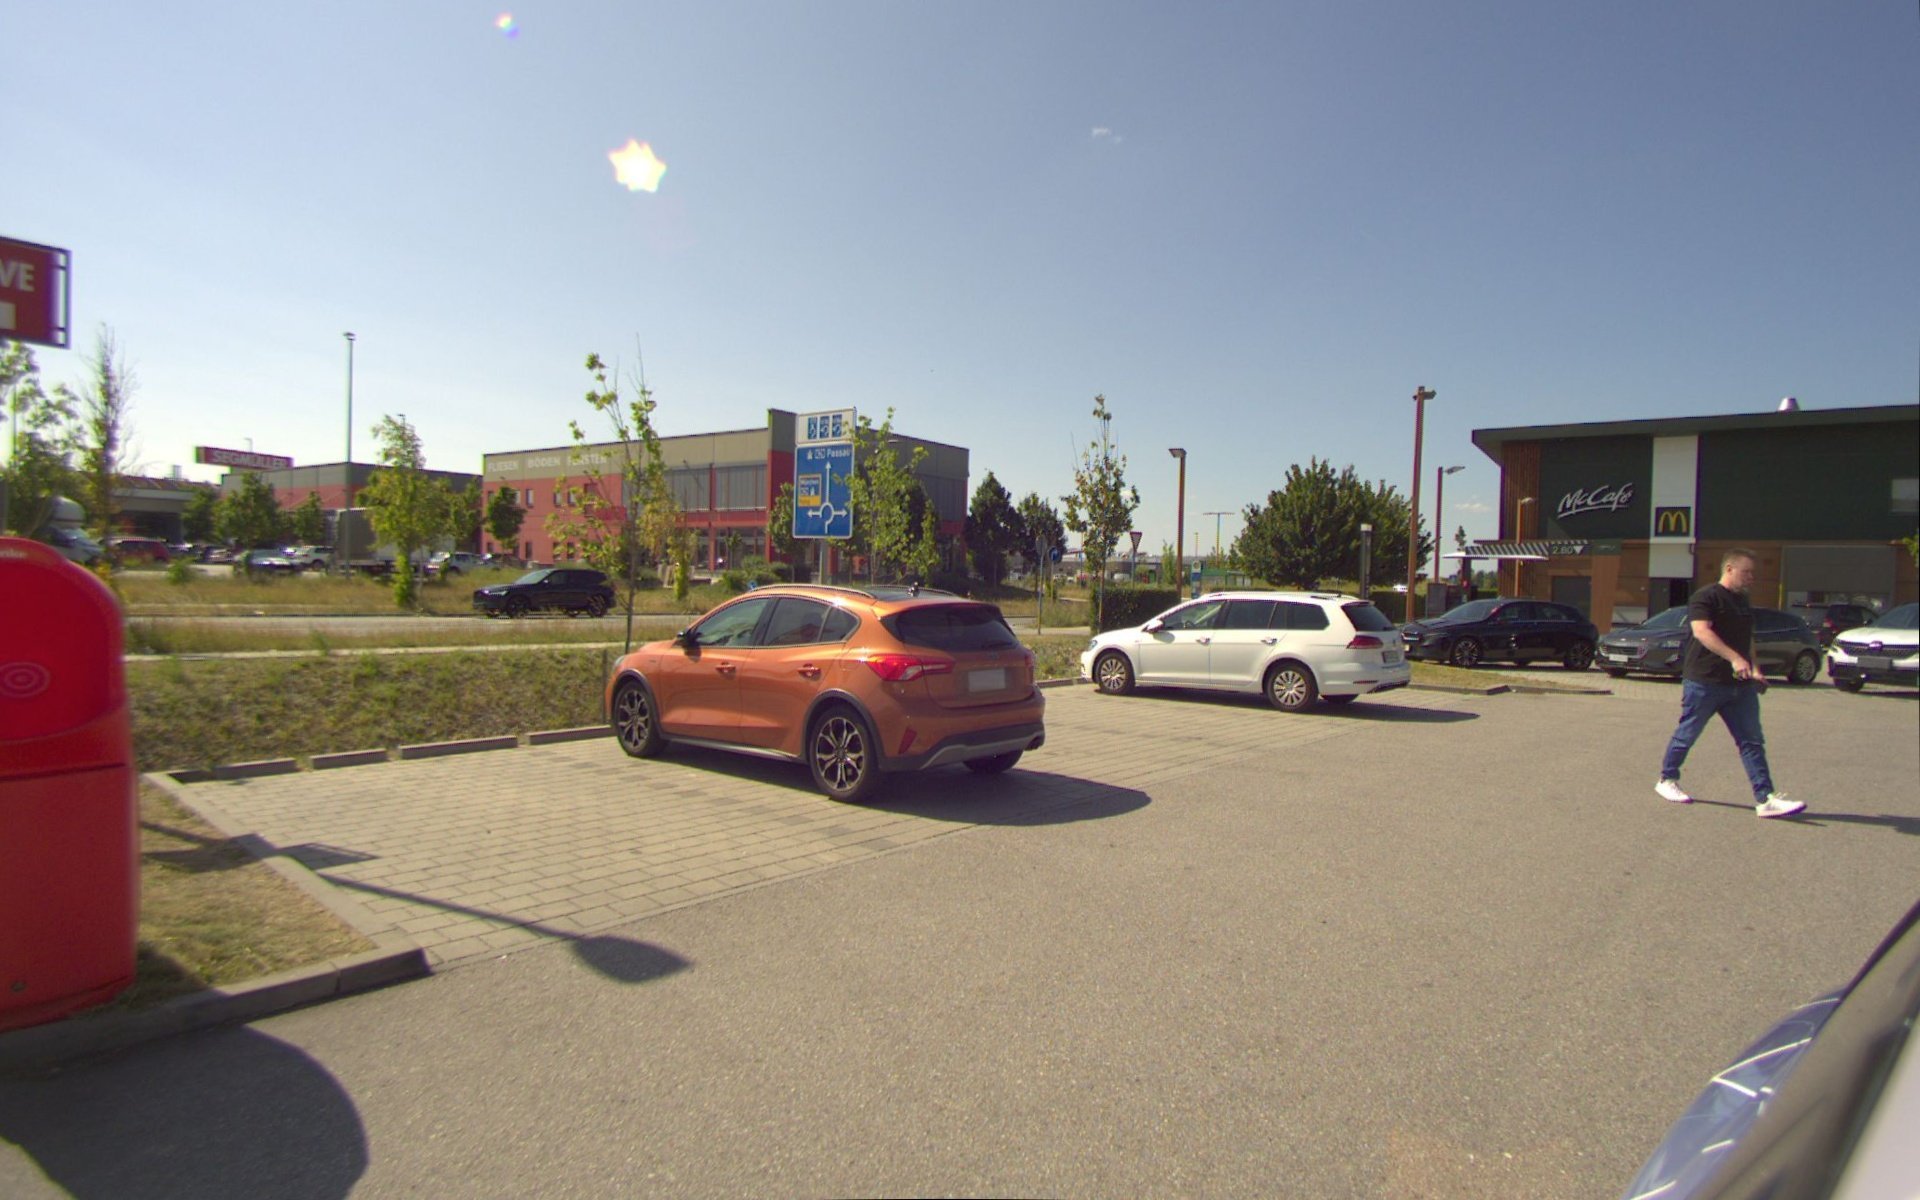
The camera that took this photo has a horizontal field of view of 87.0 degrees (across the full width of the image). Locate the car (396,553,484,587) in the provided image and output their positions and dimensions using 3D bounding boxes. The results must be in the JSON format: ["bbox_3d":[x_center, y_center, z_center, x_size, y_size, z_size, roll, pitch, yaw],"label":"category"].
[{"bbox_3d":[-31.593,-1.825,61.574,1.943,1.879,4.350,2,1,34],"label":"car"}]

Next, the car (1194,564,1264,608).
[{"bbox_3d":[14.522,-0.712,54.507,1.988,2.224,5.041,2,1,35],"label":"car"}]

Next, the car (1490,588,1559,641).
[{"bbox_3d":[20.144,0.463,36.118,1.981,1.712,4.191,3,1,30],"label":"car"}]

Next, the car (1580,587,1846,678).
[{"bbox_3d":[14.198,0.598,19.132,4.118,1.545,1.980,2,1,-18],"label":"car"}]

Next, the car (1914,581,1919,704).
[{"bbox_3d":[15.417,0.685,12.742,4.652,1.770,1.810,2,1,35],"label":"car"}]

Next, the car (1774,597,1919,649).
[{"bbox_3d":[30.588,0.784,34.675,4.373,1.622,1.967,2,1,-16],"label":"car"}]

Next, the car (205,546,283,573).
[{"bbox_3d":[-53.309,-2.996,75.425,1.943,1.879,4.350,2,1,34],"label":"car"}]

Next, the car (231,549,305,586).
[{"bbox_3d":[-30.199,-1.432,44.141,3.949,1.478,1.631,2,1,40],"label":"car"}]

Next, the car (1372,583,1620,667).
[{"bbox_3d":[11.180,0.509,21.235,4.242,1.545,1.979,2,1,-11],"label":"car"}]

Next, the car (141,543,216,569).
[{"bbox_3d":[-62.055,-3.484,80.395,1.943,1.879,4.350,2,1,34],"label":"car"}]

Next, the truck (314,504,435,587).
[{"bbox_3d":[-27.335,-2.498,47.102,6.803,3.524,2.728,2,1,41],"label":"truck"}]

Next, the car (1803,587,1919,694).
[{"bbox_3d":[16.937,0.687,17.313,4.118,1.675,1.980,2,1,-19],"label":"car"}]

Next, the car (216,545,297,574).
[{"bbox_3d":[-50.588,-2.869,72.857,1.943,1.879,4.350,2,1,34],"label":"car"}]

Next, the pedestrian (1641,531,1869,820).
[{"bbox_3d":[5.453,0.476,6.998,0.711,1.832,0.996,1,0,-15],"label":"pedestrian"}]

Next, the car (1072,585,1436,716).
[{"bbox_3d":[3.868,0.555,13.814,4.464,1.487,1.805,1,1,42],"label":"car"}]

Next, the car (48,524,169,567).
[{"bbox_3d":[-41.903,-2.635,49.865,1.858,1.879,4.214,2,1,34],"label":"car"}]

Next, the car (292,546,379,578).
[{"bbox_3d":[-40.347,-2.420,65.440,1.943,1.879,4.350,2,1,34],"label":"car"}]

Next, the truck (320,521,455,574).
[{"bbox_3d":[-34.801,-3.133,61.790,1.943,2.850,6.971,2,1,34],"label":"truck"}]

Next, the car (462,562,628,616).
[{"bbox_3d":[-13.722,-0.333,33.633,4.720,1.645,1.998,1,1,-40],"label":"car"}]

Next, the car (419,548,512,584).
[{"bbox_3d":[-28.059,-1.906,57.583,1.943,1.879,4.350,2,1,34],"label":"car"}]

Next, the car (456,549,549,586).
[{"bbox_3d":[-25.502,-1.806,56.510,1.943,1.879,4.350,2,1,34],"label":"car"}]

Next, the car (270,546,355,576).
[{"bbox_3d":[-43.549,-2.610,68.123,2.035,1.879,4.350,2,1,34],"label":"car"}]

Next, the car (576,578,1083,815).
[{"bbox_3d":[-1.274,0.574,8.472,4.335,1.487,1.806,1,1,41],"label":"car"}]

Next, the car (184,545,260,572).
[{"bbox_3d":[-56.715,-3.143,77.835,1.943,1.879,4.350,2,1,34],"label":"car"}]

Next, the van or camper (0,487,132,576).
[{"bbox_3d":[-36.235,-2.606,37.724,7.886,3.140,2.424,2,0,-22],"label":"van or camper"}]
